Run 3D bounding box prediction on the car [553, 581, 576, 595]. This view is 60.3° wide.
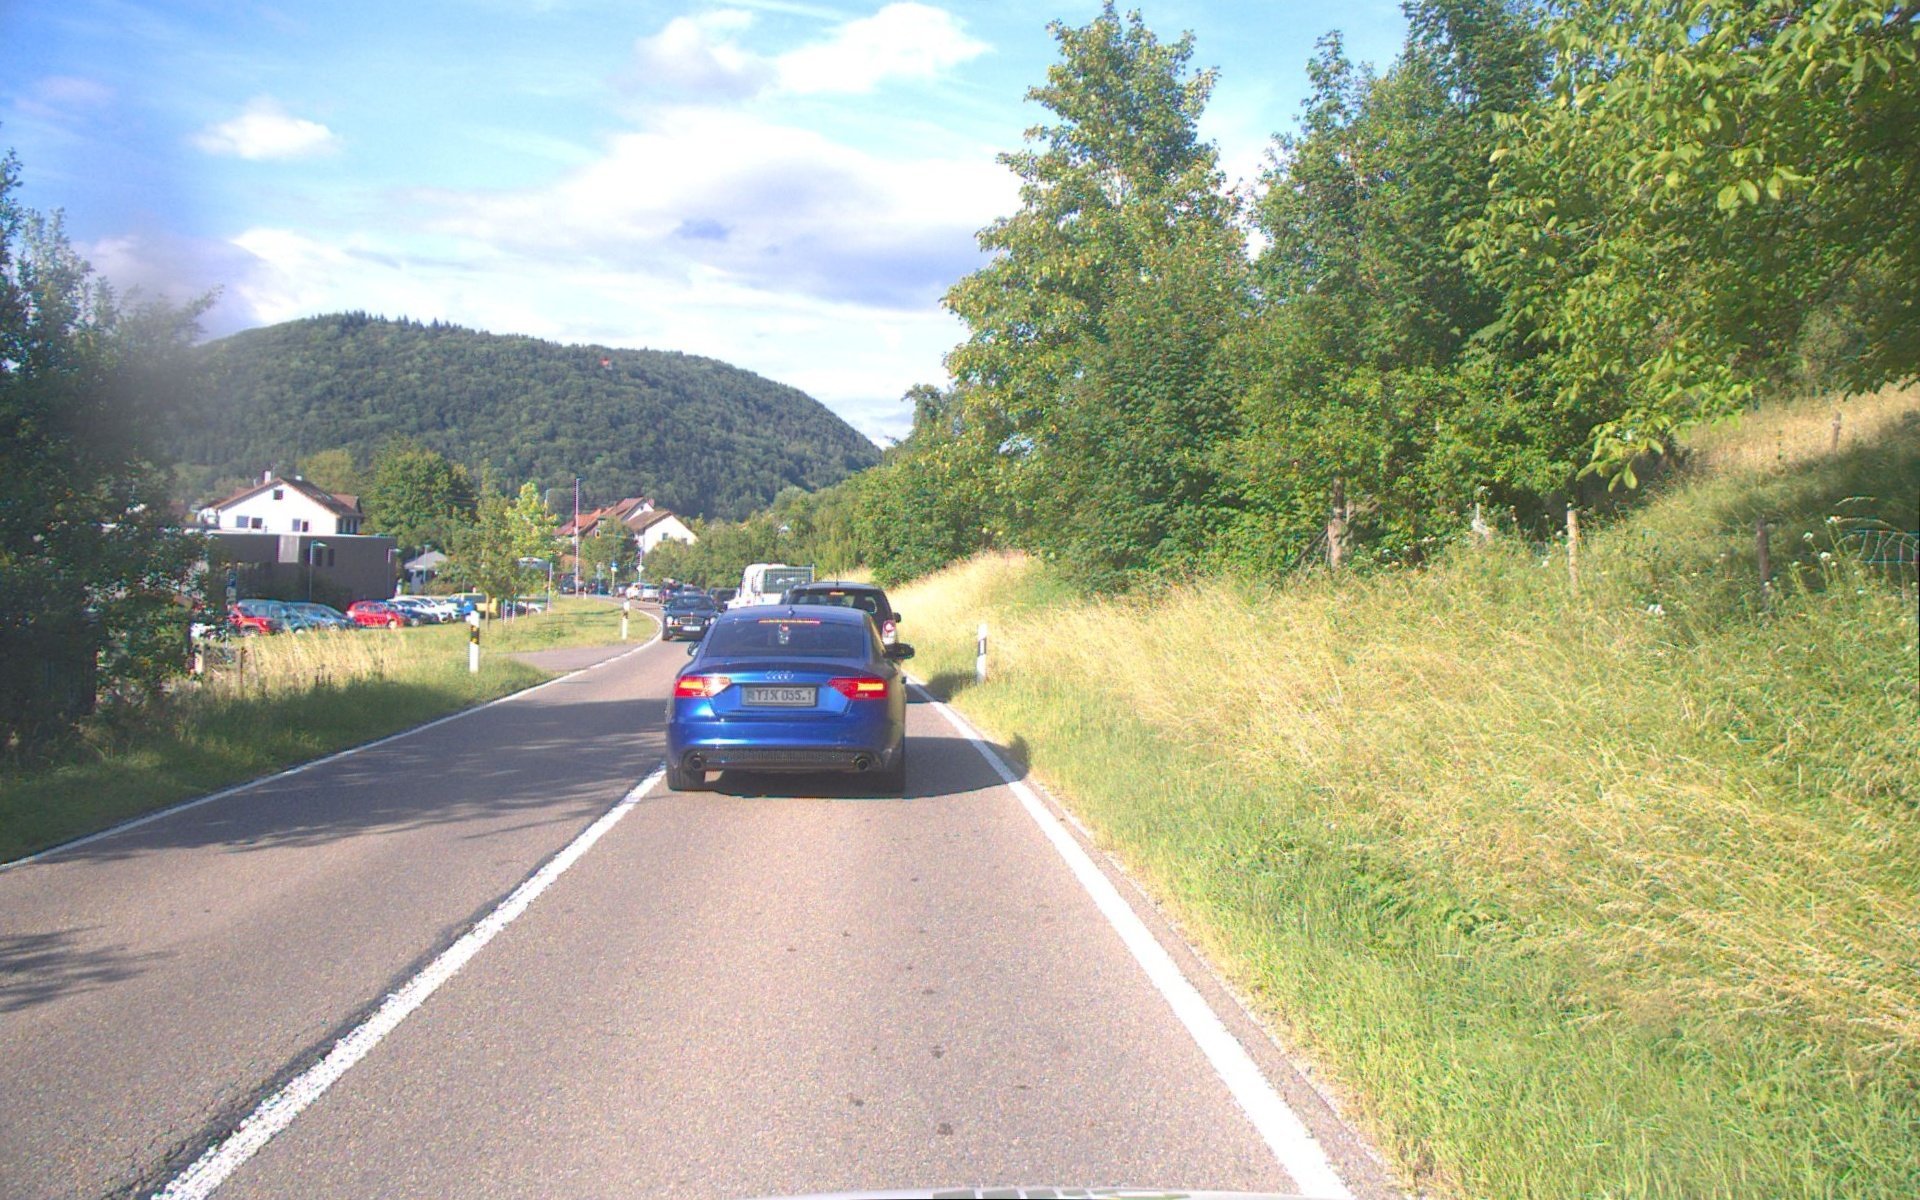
[{"bbox_3d":[-40.769,-1.241,170.443,1.681,1.455,4.022,1,0,-23],"label":"car"}]

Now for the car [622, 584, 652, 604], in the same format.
[{"bbox_3d":[-28.613,-0.542,146.608,1.820,1.742,3.972,1,0,-23],"label":"car"}]

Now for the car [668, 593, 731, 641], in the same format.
[{"bbox_3d":[-7.893,0.499,50.362,1.563,1.377,4.199,1,0,-5],"label":"car"}]

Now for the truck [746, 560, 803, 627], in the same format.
[{"bbox_3d":[-7.766,-0.233,68.861,2.188,2.615,6.696,1,0,-8],"label":"truck"}]

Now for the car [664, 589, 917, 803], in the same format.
[{"bbox_3d":[-1.236,0.673,13.355,1.719,1.455,3.845,1,0,-2],"label":"car"}]

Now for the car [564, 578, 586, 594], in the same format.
[{"bbox_3d":[-42.950,-1.547,184.512,1.820,1.742,3.972,1,0,-23],"label":"car"}]

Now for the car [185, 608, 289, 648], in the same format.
[{"bbox_3d":[-32.954,1.281,75.452,3.911,1.741,1.997,1,0,-8],"label":"car"}]

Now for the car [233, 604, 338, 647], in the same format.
[{"bbox_3d":[-33.061,1.255,81.175,4.323,2.043,1.997,1,0,-8],"label":"car"}]

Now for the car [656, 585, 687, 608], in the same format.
[{"bbox_3d":[-22.424,-0.282,128.499,1.816,1.742,3.981,1,0,-17],"label":"car"}]

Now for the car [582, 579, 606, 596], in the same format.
[{"bbox_3d":[-38.033,-1.266,171.777,1.820,1.742,3.972,1,0,-23],"label":"car"}]

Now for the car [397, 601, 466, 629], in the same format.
[{"bbox_3d":[-34.351,0.981,107.522,3.911,1.741,1.997,1,0,-8],"label":"car"}]

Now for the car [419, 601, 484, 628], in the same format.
[{"bbox_3d":[-34.789,0.997,113.288,3.911,1.741,1.997,1,0,-8],"label":"car"}]

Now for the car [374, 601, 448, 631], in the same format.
[{"bbox_3d":[-33.389,0.970,100.647,3.911,1.741,1.997,1,0,-8],"label":"car"}]

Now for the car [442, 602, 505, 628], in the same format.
[{"bbox_3d":[-34.076,1.019,115.973,3.911,1.741,1.997,1,0,-8],"label":"car"}]

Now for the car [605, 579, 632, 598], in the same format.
[{"bbox_3d":[-32.599,-1.102,157.859,1.820,1.742,3.972,1,0,-23],"label":"car"}]

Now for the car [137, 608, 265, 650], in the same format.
[{"bbox_3d":[-33.039,1.266,72.089,4.641,1.741,1.997,1,0,-8],"label":"car"}]

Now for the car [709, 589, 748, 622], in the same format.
[{"bbox_3d":[-12.726,0.289,90.825,1.814,1.742,3.987,1,0,-13],"label":"car"}]

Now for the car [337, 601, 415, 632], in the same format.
[{"bbox_3d":[-33.878,0.944,96.014,3.911,1.741,1.997,1,0,-8],"label":"car"}]

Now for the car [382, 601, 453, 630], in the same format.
[{"bbox_3d":[-34.169,0.971,104.244,3.911,1.741,1.997,1,0,-8],"label":"car"}]

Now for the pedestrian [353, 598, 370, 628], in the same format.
[{"bbox_3d":[-40.977,0.867,113.273,0.809,2.049,0.972,1,0,-5],"label":"pedestrian"}]

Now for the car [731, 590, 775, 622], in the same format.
[{"bbox_3d":[-10.171,0.292,81.221,1.813,1.508,3.988,1,0,-12],"label":"car"}]

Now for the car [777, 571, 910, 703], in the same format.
[{"bbox_3d":[-1.661,0.488,23.636,1.719,1.710,3.843,1,0,-4],"label":"car"}]

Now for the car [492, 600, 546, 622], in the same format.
[{"bbox_3d":[-34.761,0.859,130.391,3.911,1.606,1.750,1,0,-8],"label":"car"}]

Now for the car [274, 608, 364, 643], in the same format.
[{"bbox_3d":[-33.015,1.319,85.323,3.911,1.741,1.997,1,0,-8],"label":"car"}]

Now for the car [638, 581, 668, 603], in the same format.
[{"bbox_3d":[-25.610,-0.673,137.690,1.818,1.742,3.976,1,0,-20],"label":"car"}]

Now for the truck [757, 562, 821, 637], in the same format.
[{"bbox_3d":[-6.324,0.000,61.199,2.187,2.615,6.095,1,0,-6],"label":"truck"}]

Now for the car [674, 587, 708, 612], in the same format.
[{"bbox_3d":[-19.362,-0.011,119.111,1.817,1.742,3.979,1,0,-18],"label":"car"}]
